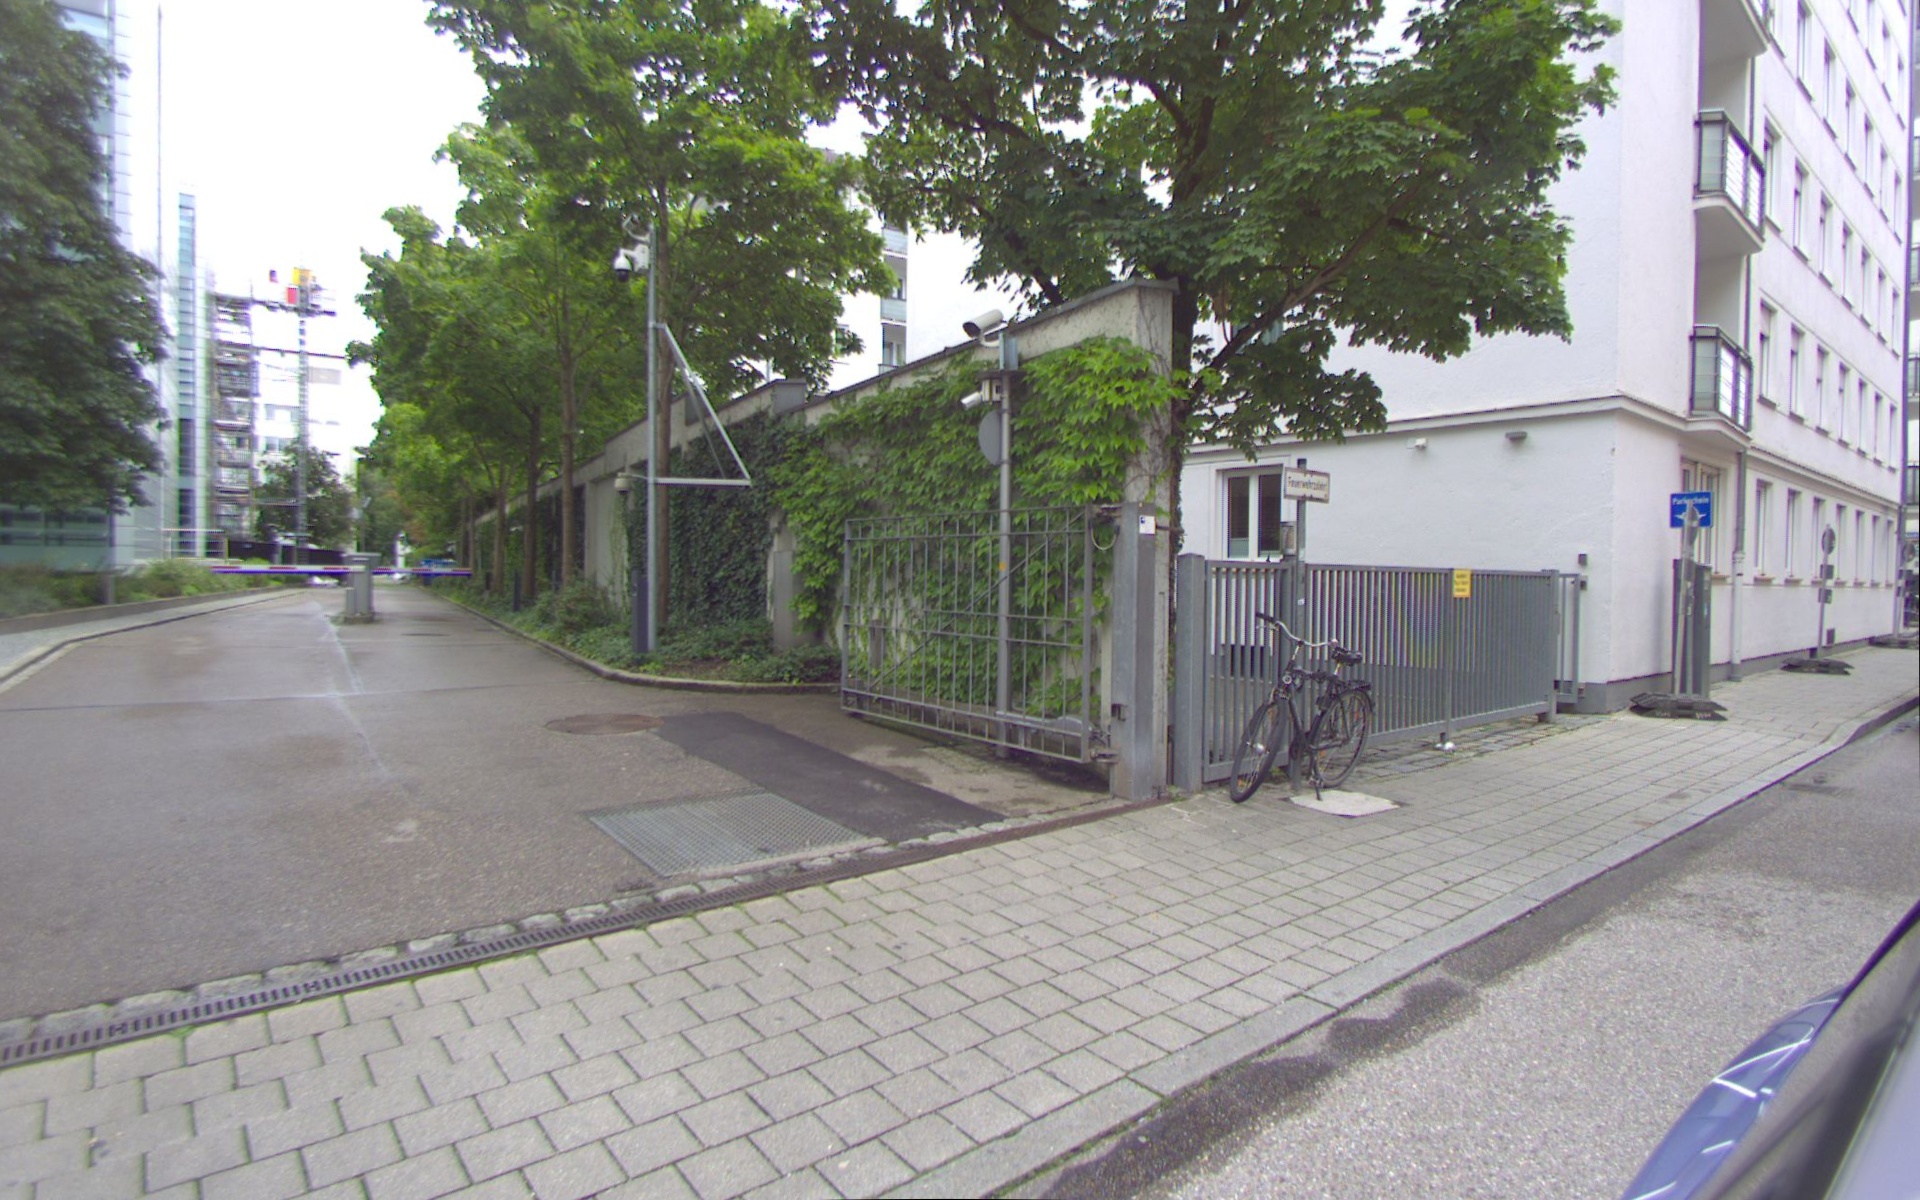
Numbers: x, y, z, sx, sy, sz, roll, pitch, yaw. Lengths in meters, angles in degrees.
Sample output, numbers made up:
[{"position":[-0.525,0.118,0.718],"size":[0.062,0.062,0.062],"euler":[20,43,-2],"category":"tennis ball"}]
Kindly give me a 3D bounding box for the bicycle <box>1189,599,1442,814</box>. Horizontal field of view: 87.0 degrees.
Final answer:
[{"position":[2.386,0.651,6.683],"size":[1.800,1.213,0.709],"euler":[3,-1,-40],"category":"bicycle"}]

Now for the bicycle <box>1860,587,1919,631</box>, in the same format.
[{"position":[24.573,0.243,26.420],"size":[1.490,1.056,0.394],"euler":[4,4,32],"category":"bicycle"}]

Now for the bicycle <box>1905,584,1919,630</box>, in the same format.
[{"position":[26.158,0.200,27.352],"size":[0.395,1.219,1.493],"euler":[3,4,25],"category":"bicycle"}]

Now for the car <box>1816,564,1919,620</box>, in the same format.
[{"position":[33.690,-0.269,35.884],"size":[1.895,1.914,4.688],"euler":[1,2,-31],"category":"car"}]
